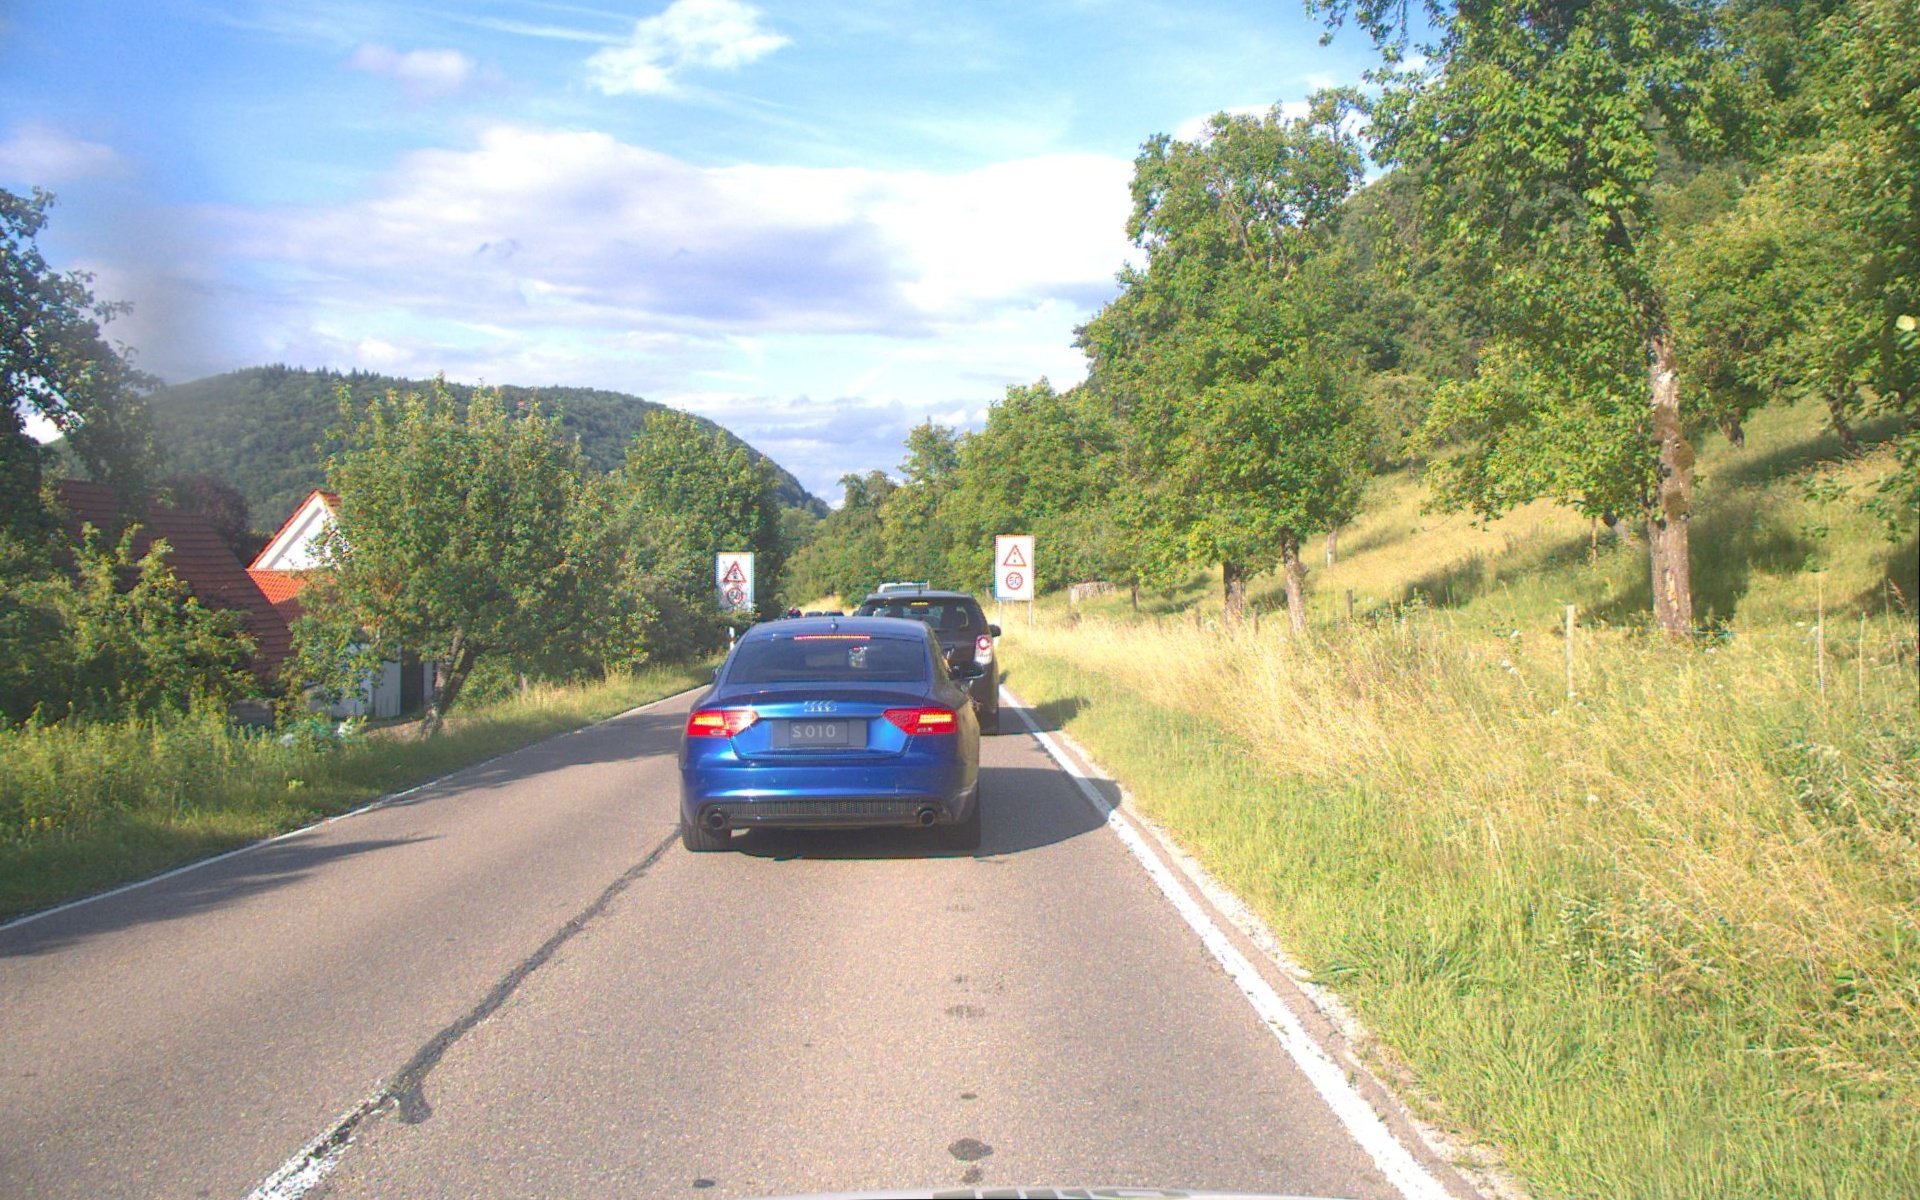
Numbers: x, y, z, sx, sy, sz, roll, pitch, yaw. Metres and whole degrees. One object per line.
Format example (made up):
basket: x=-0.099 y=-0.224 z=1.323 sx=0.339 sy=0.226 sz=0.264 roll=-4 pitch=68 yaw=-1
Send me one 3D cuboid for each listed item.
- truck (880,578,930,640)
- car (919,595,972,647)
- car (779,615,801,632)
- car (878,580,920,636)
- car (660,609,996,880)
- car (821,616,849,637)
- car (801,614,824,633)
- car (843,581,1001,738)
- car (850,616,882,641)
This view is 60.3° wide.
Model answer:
truck: x=-2.276 y=0.360 z=68.155 sx=1.911 sy=2.386 sz=5.092 roll=2 pitch=0 yaw=-2
car: x=-0.511 y=0.672 z=55.074 sx=1.658 sy=1.652 sz=3.788 roll=1 pitch=0 yaw=-1
car: x=-16.129 y=2.219 z=156.704 sx=1.532 sy=1.522 sz=3.765 roll=2 pitch=0 yaw=-13
car: x=-2.875 y=0.353 z=77.719 sx=1.757 sy=2.496 sz=3.916 roll=2 pitch=0 yaw=-4
car: x=-0.729 y=0.774 z=10.876 sx=1.769 sy=1.406 sz=4.214 roll=0 pitch=0 yaw=-1
car: x=-9.975 y=2.070 z=131.341 sx=1.717 sy=1.522 sz=3.767 roll=2 pitch=0 yaw=-12
car: x=-12.785 y=2.046 z=143.140 sx=1.531 sy=1.522 sz=3.766 roll=2 pitch=0 yaw=-12
car: x=-0.447 y=0.632 z=19.525 sx=1.658 sy=1.652 sz=3.788 roll=1 pitch=0 yaw=-1
car: x=-6.299 y=1.893 z=110.957 sx=1.716 sy=1.522 sz=3.769 roll=2 pitch=0 yaw=-10
